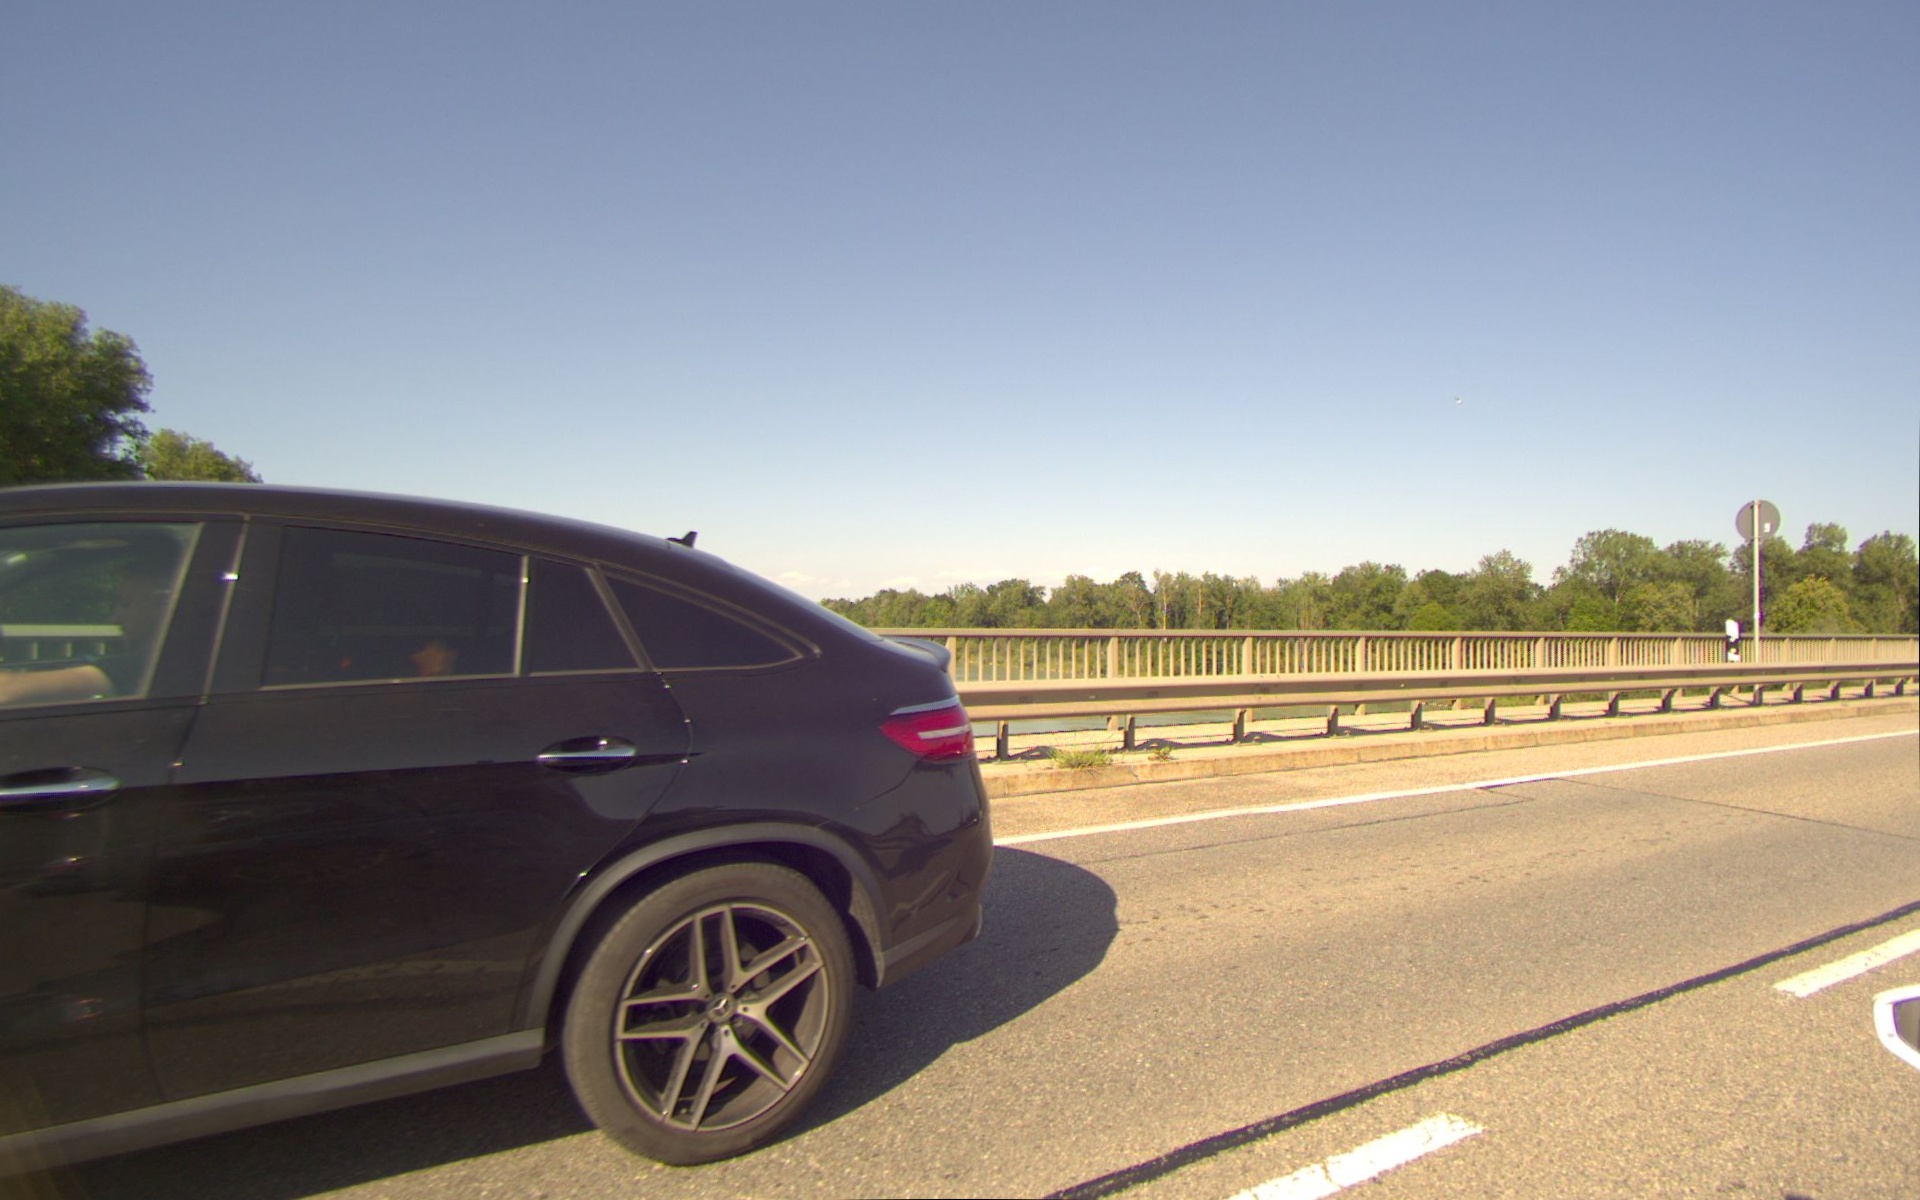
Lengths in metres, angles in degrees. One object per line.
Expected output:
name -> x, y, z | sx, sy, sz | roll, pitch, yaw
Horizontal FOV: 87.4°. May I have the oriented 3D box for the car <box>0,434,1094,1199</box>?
car -> -1.986, 0.557, 2.833 | 4.423, 1.716, 1.940 | 1, 0, -30
